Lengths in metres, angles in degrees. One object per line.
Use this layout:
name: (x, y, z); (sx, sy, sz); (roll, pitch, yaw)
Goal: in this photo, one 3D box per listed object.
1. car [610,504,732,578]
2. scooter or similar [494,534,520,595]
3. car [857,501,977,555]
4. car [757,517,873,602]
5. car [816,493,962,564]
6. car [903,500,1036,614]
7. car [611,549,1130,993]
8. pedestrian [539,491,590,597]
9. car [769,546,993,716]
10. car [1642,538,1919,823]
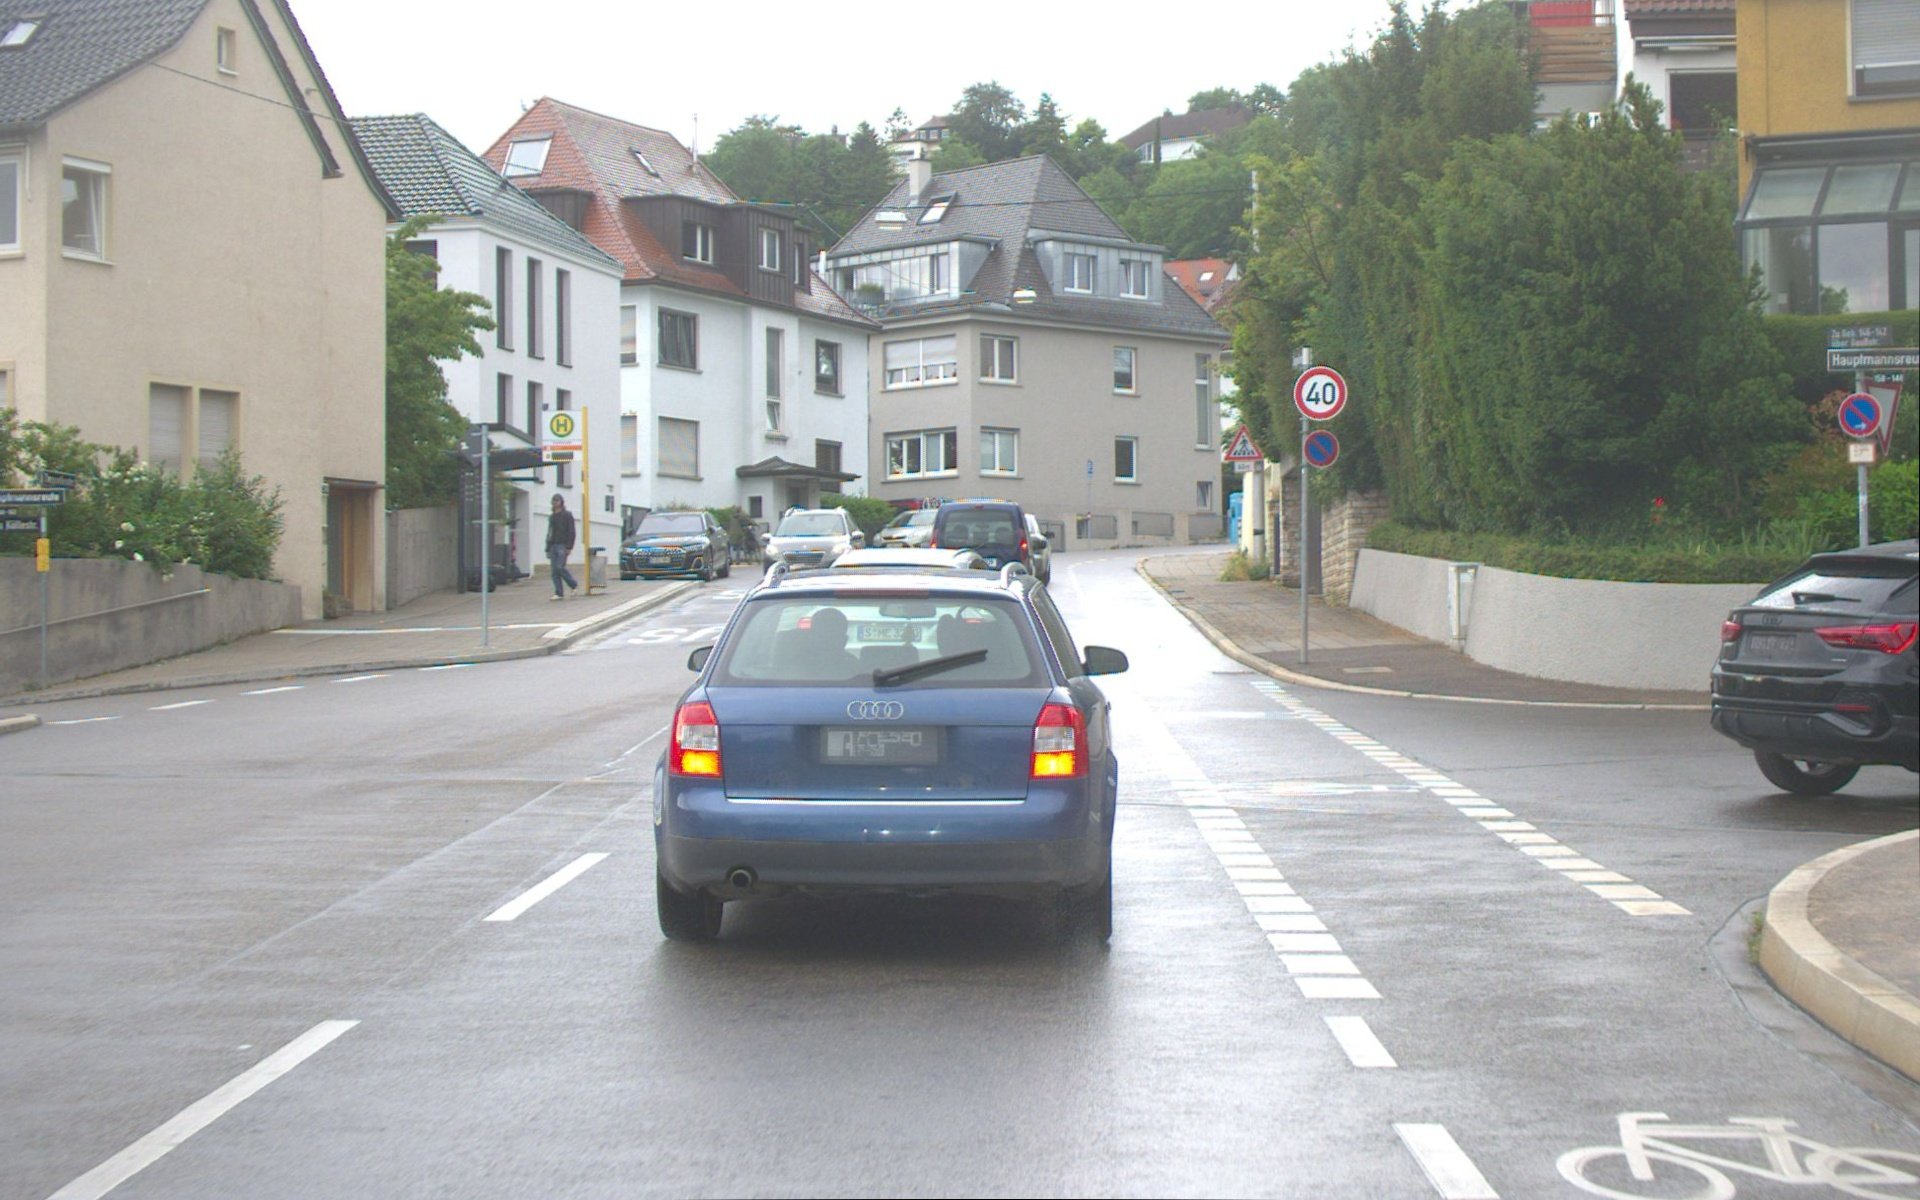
car: (-6.143, -1.279, 73.637); (1.829, 1.480, 4.991); (-1, 1, 4)
scooter or similar: (-9.095, -0.719, 69.031); (0.337, 1.215, 1.123); (0, 2, 2)
car: (-1.198, -2.086, 98.689); (1.838, 1.420, 4.225); (-2, 1, 23)
car: (-2.771, -0.799, 66.662); (1.734, 1.540, 4.000); (-2, 1, 4)
car: (-2.236, -2.243, 108.081); (3.993, 1.816, 1.997); (-6, 0, 30)
car: (0.184, -0.670, 53.946); (1.928, 1.700, 4.000); (1, 1, 2)
car: (-0.255, 0.572, 14.137); (1.811, 1.434, 4.082); (1, 2, 2)
pedestrian: (-6.943, -0.982, 60.311); (0.786, 1.850, 0.728); (1, 1, 1)
car: (-0.747, 0.231, 30.085); (1.811, 1.356, 4.001); (1, 1, -3)
car: (6.394, 0.404, 20.406); (4.187, 1.517, 2.001); (-1, 2, -22)
